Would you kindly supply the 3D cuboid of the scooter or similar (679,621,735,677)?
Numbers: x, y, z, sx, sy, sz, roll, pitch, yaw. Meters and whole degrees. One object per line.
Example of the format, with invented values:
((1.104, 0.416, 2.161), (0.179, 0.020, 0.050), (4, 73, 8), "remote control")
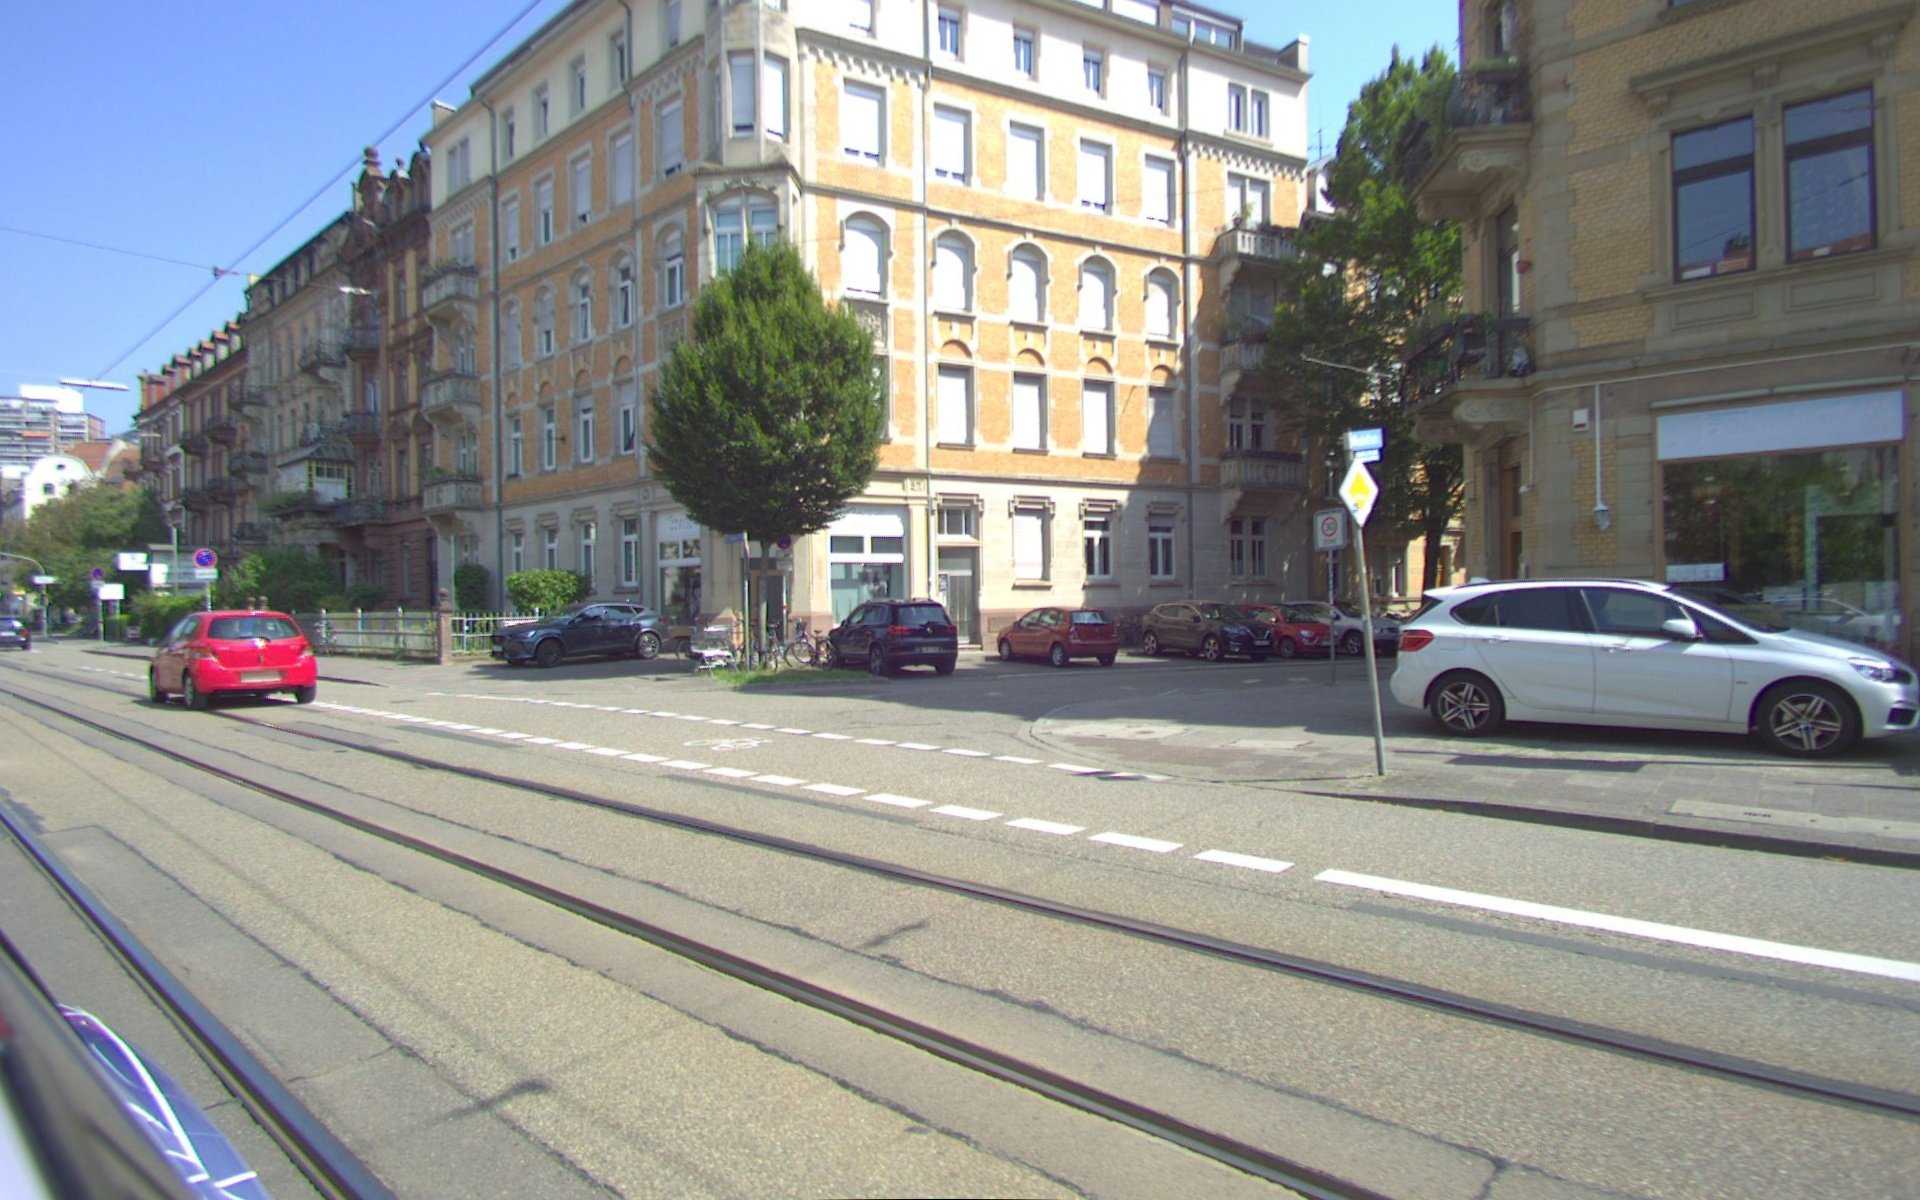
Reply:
((-5.284, 1.012, 21.096), (0.588, 1.107, 1.392), (-1, 0, -39), "scooter or similar")

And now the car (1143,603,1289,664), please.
((6.843, 0.844, 27.402), (1.761, 1.487, 3.771), (0, 1, -27), "car")

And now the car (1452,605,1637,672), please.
((13.180, 0.815, 22.844), (3.650, 1.374, 1.781), (0, 0, -23), "car")

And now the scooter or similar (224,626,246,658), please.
((-23.691, 1.367, 33.063), (0.583, 0.990, 0.397), (-1, 1, 33), "scooter or similar")

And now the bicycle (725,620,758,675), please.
((-4.699, 0.998, 21.703), (0.384, 1.107, 1.456), (-1, 0, -24), "bicycle")

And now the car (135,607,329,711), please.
((-12.040, 0.902, 16.652), (3.997, 1.501, 1.714), (-2, -1, 41), "car")

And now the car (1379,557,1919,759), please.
((6.702, 0.488, 10.023), (4.353, 1.606, 1.975), (-1, -1, 38), "car")

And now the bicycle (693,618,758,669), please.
((-5.456, 0.996, 23.559), (1.428, 1.107, 0.391), (-1, 0, -38), "bicycle")

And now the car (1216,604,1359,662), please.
((9.300, 0.879, 29.042), (1.761, 1.487, 3.771), (0, 1, -27), "car")

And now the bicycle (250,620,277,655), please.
((-23.597, 1.269, 34.267), (1.581, 1.156, 0.386), (-2, -1, 42), "bicycle")

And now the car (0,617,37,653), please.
((-43.133, 1.580, 45.612), (3.997, 1.552, 1.808), (-2, -1, 41), "car")

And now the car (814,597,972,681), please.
((-1.636, 0.819, 23.060), (1.965, 1.701, 4.373), (0, -1, -28), "car")

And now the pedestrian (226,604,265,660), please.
((-23.278, 1.025, 32.969), (0.870, 1.769, 0.874), (-1, -1, 41), "pedestrian")

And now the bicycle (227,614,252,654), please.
((-26.241, 1.221, 36.856), (1.581, 1.416, 0.386), (-2, -1, 42), "bicycle")

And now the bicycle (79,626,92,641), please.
((-55.432, 2.138, 64.112), (1.657, 0.949, 0.482), (-2, -1, 44), "bicycle")

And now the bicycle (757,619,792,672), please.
((-4.025, 0.963, 21.912), (0.384, 1.107, 1.456), (-1, 0, -24), "bicycle")

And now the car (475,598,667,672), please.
((-9.615, 0.811, 25.229), (1.879, 1.606, 4.057), (-1, 0, 42), "car")

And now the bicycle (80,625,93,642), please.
((-54.199, 2.071, 62.806), (1.657, 0.994, 0.482), (-2, -1, 44), "bicycle")

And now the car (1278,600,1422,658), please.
((11.474, 0.804, 30.001), (1.761, 1.554, 3.771), (0, 1, -27), "car")

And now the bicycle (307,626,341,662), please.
((-19.172, 1.325, 30.496), (1.833, 1.046, 0.386), (-2, -1, 42), "bicycle")

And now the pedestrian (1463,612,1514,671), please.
((11.491, 0.899, 22.027), (0.573, 1.236, 0.804), (0, 0, -23), "pedestrian")

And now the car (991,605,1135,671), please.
((2.546, 0.906, 25.752), (1.818, 1.487, 3.770), (0, 1, -29), "car")

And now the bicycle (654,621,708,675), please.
((-6.104, 1.033, 22.194), (0.387, 1.107, 1.443), (-2, 0, 18), "bicycle")

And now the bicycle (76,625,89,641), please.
((-57.431, 2.172, 66.208), (1.778, 1.029, 0.482), (-2, -1, 44), "bicycle")
